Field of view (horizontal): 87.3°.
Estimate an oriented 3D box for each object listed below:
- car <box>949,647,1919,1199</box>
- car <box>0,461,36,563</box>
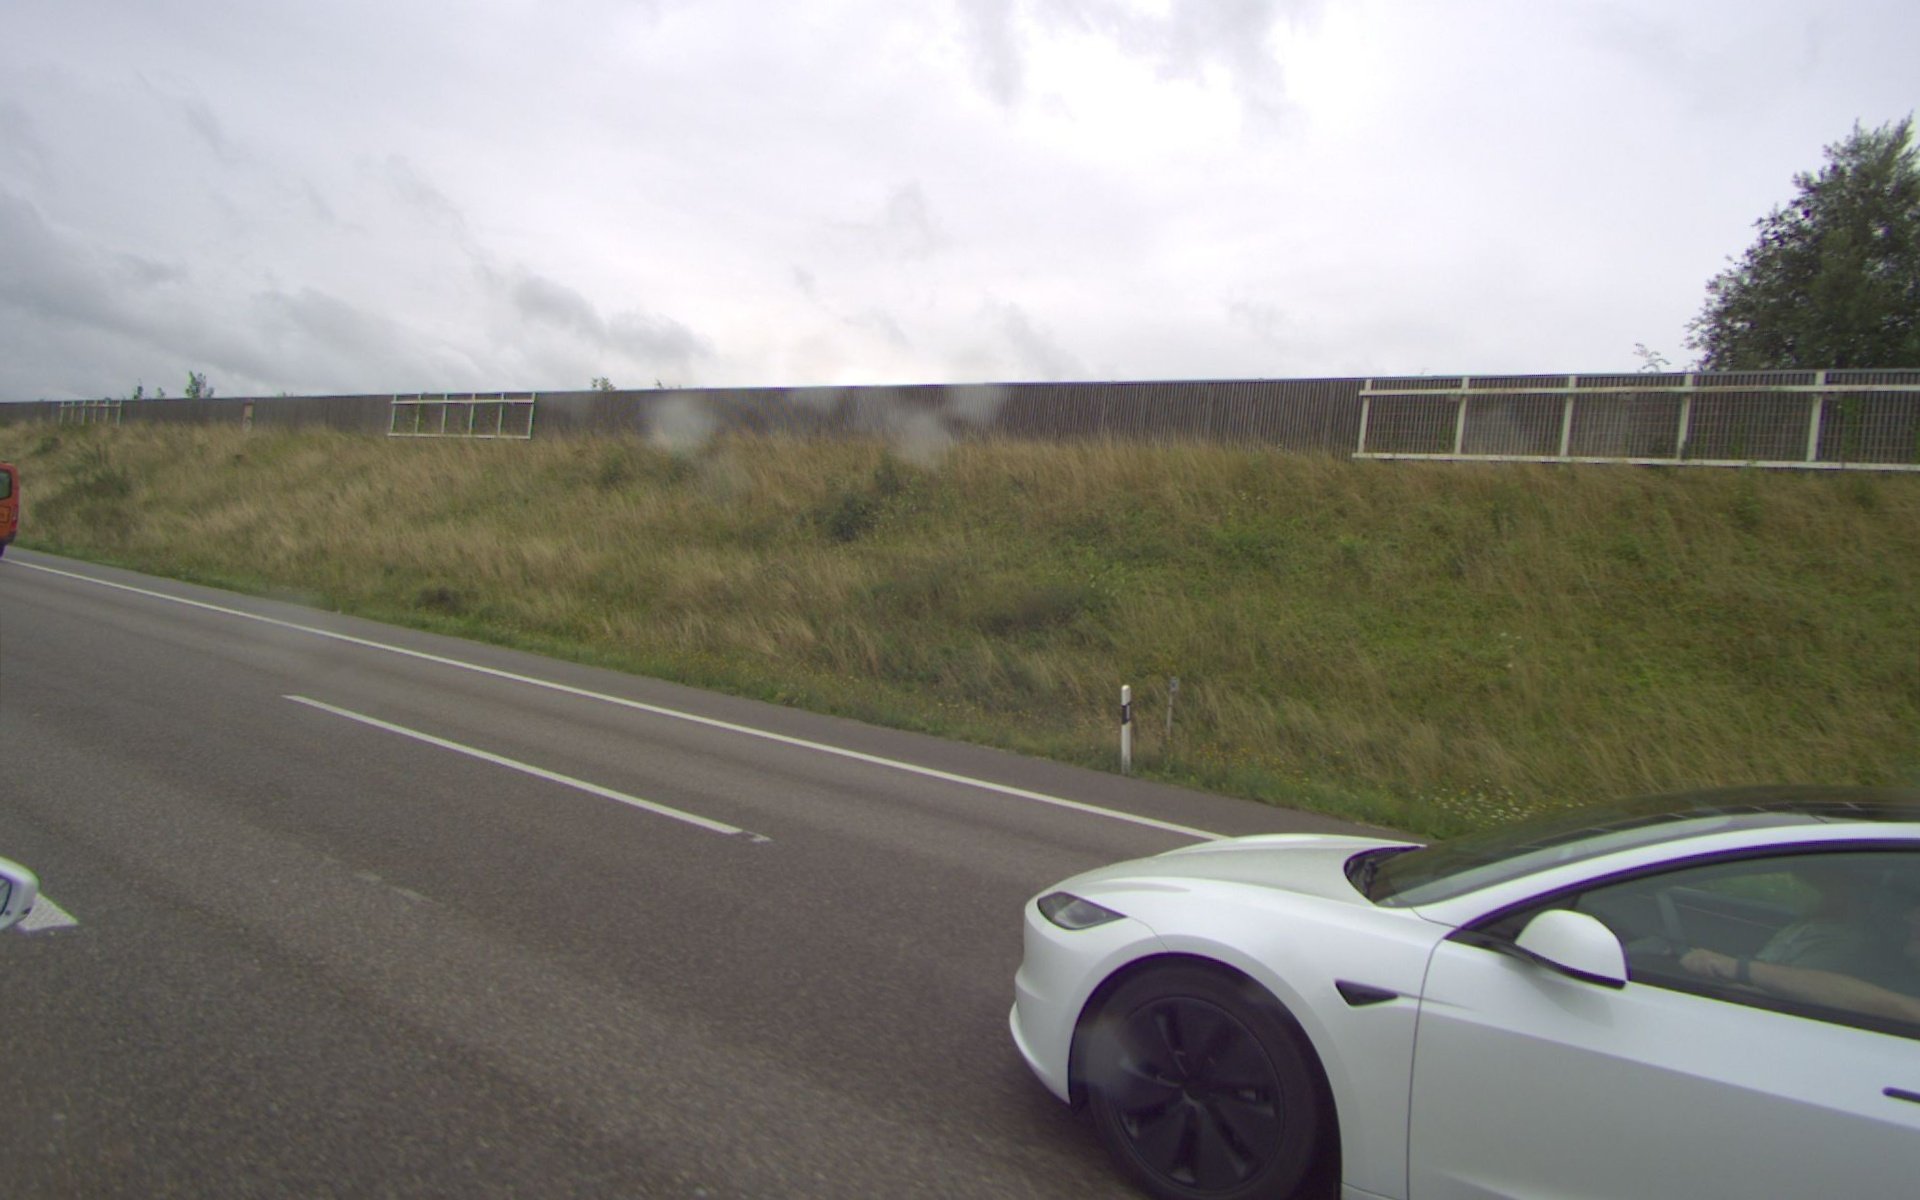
[{"bbox_3d":[2.520,1.137,2.606,4.734,1.379,1.877,6,-2,32],"label":"car"},{"bbox_3d":[-25.592,-2.457,25.019,6.078,2.343,2.089,7,0,31],"label":"car"}]
